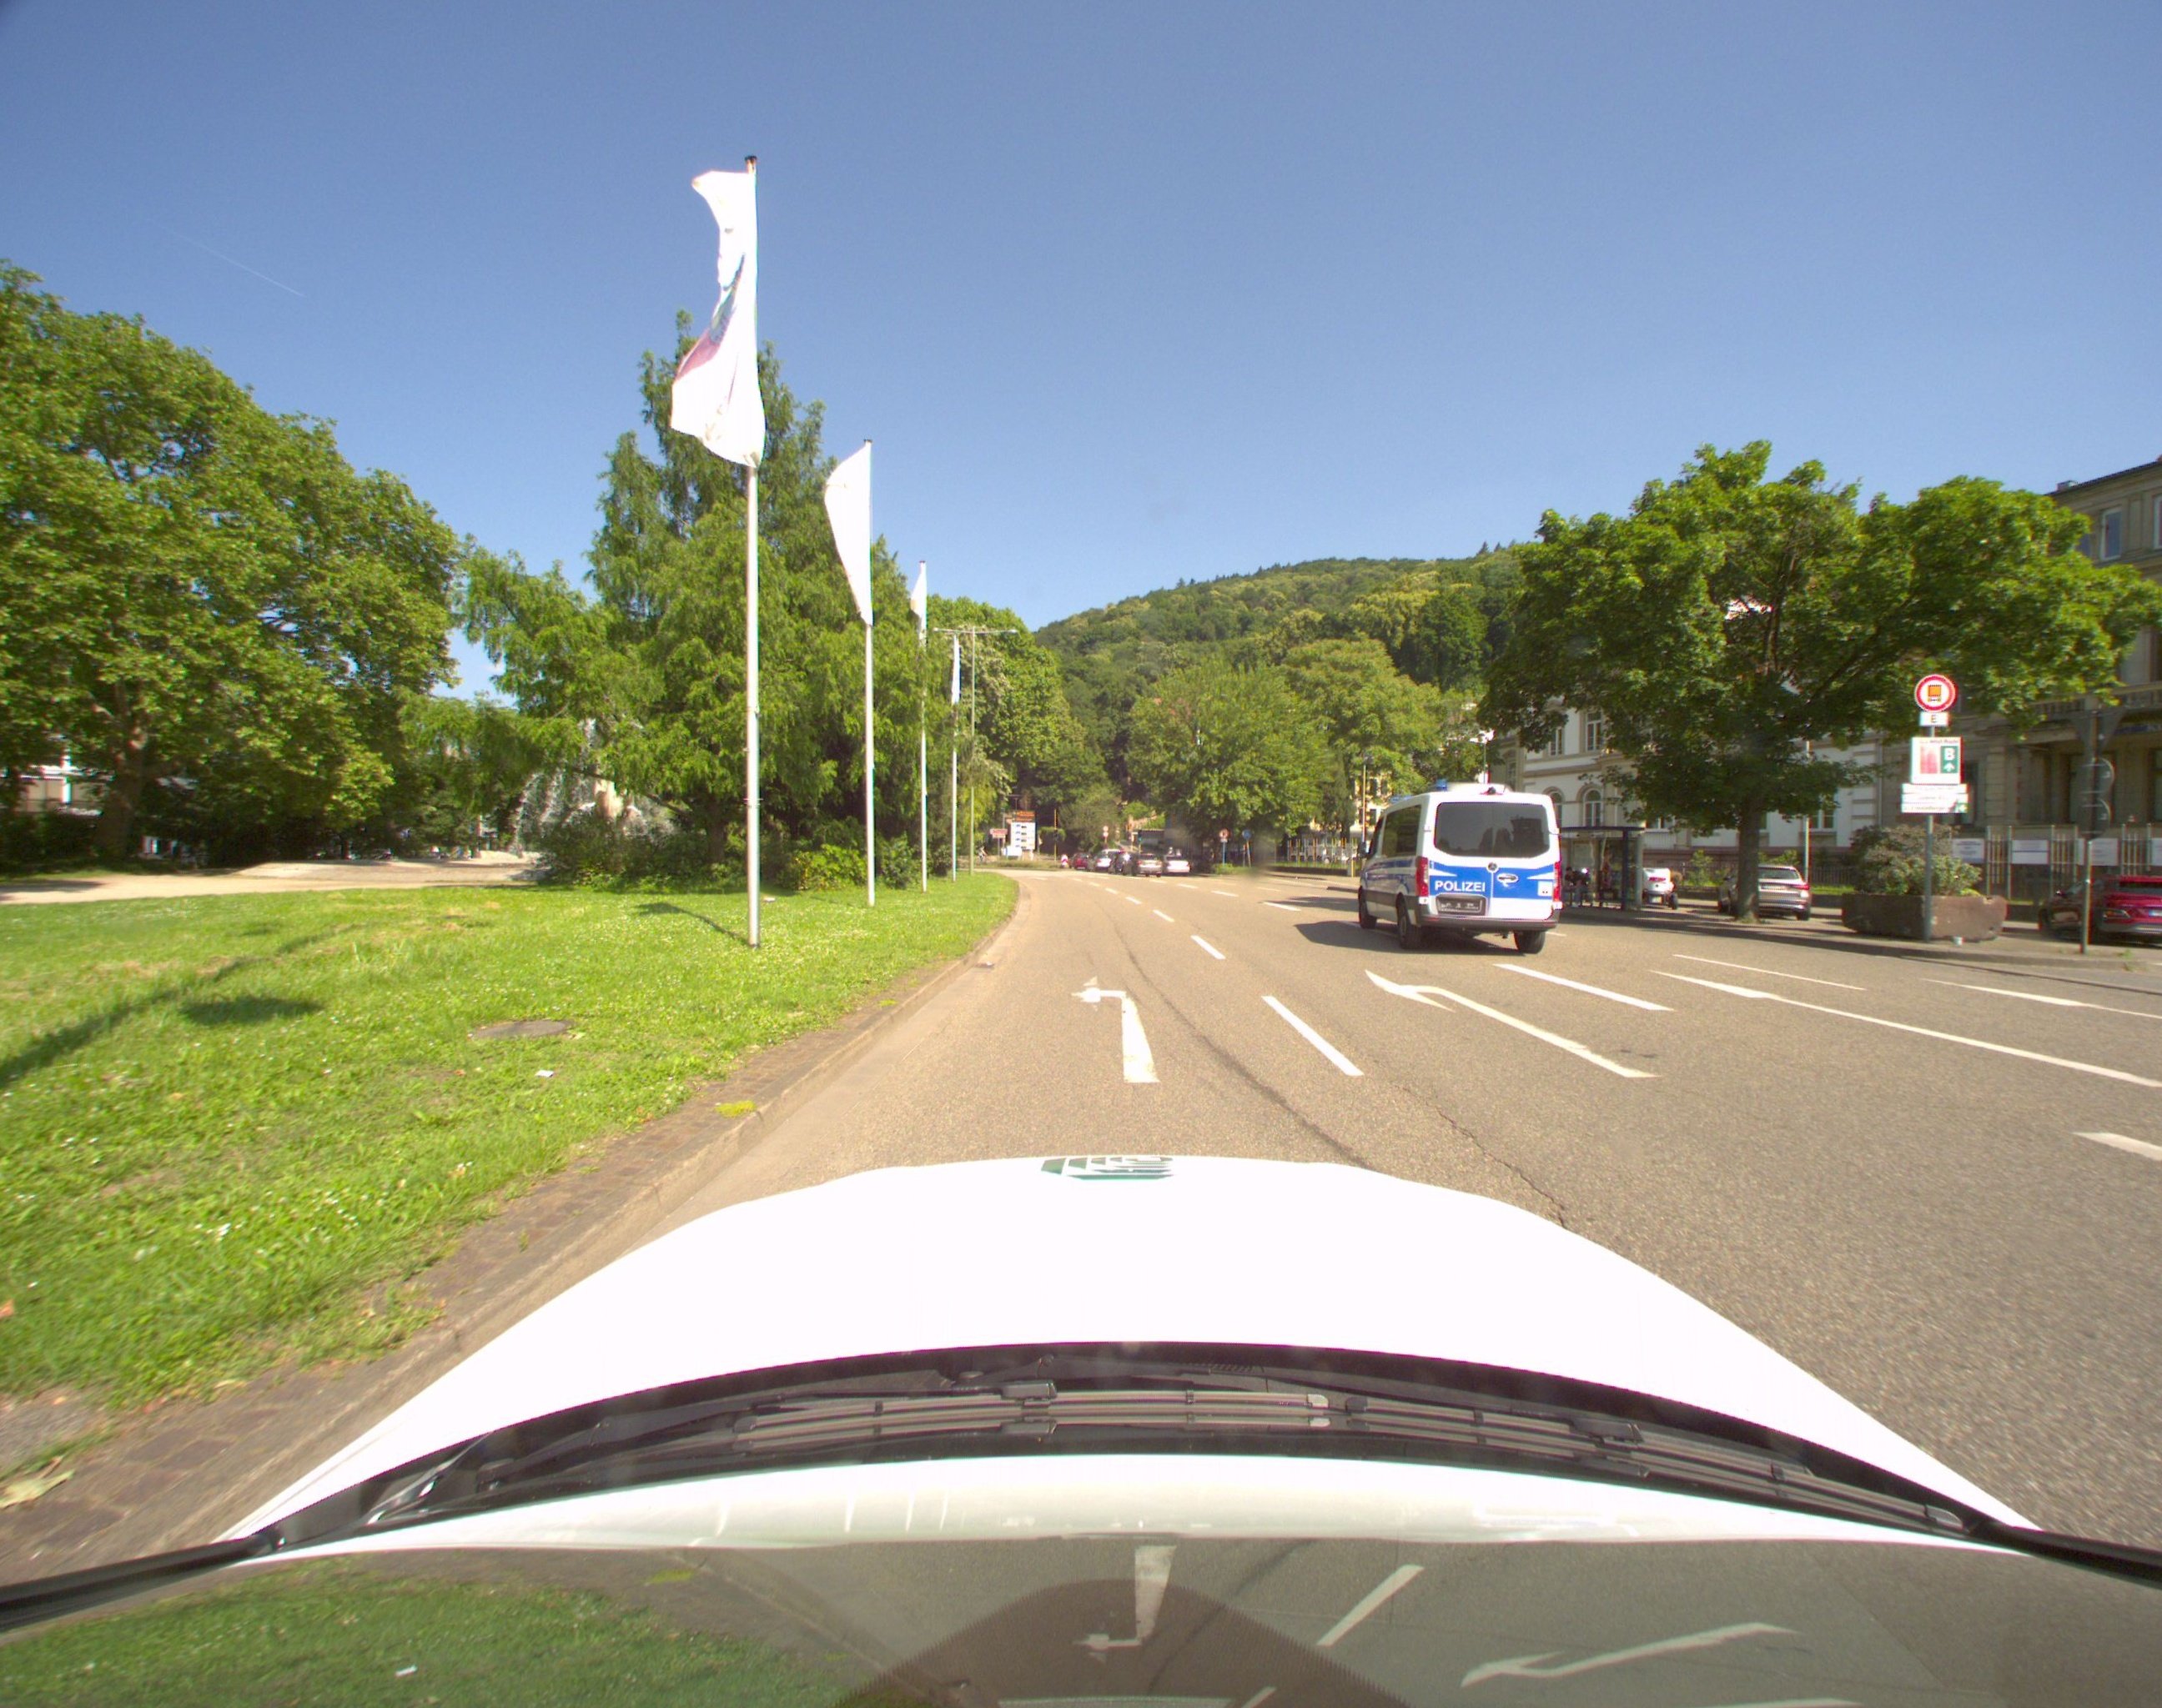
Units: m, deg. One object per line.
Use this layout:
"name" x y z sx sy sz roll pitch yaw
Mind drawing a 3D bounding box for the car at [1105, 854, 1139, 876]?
"car" 2.801 0.745 56.316 1.755 1.461 3.485 1 0 -7

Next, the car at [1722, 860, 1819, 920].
"car" 21.282 1.038 25.300 1.692 1.629 4.343 1 0 32

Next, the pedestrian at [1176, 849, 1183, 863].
"pedestrian" 9.832 0.210 81.401 0.490 1.458 0.729 0 0 -19

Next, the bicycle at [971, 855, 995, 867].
"bicycle" -9.432 0.668 78.386 2.060 1.112 0.760 1 0 17

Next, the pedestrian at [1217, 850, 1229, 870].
"pedestrian" 12.462 0.529 71.431 0.770 1.663 0.828 1 0 -6

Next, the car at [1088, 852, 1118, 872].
"car" 1.675 0.604 62.161 1.755 1.461 3.637 1 0 -7

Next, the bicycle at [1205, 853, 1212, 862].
"bicycle" 13.786 0.351 87.871 0.404 0.941 1.338 0 1 -6

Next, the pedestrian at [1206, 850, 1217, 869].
"pedestrian" 11.539 0.525 72.205 0.770 1.663 0.828 1 0 -6

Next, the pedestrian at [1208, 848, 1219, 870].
"pedestrian" 11.549 0.438 71.024 0.769 1.854 0.828 1 0 -4

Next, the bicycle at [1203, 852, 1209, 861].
"bicycle" 13.804 0.307 89.892 0.404 1.012 1.338 0 1 -6

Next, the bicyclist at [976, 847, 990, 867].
"bicyclist" -9.460 0.264 78.399 1.117 1.932 0.752 1 0 18

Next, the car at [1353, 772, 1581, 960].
"car" 6.021 0.152 13.450 2.061 2.508 4.941 1 0 9

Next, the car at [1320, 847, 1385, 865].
"car" 21.008 0.143 62.970 4.466 1.336 1.816 0 0 -10

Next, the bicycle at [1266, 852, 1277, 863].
"bicycle" 19.893 0.333 85.124 0.536 1.085 1.832 0 0 -5

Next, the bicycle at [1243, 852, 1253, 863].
"bicycle" 17.410 0.335 84.938 0.536 1.085 1.832 0 0 -5

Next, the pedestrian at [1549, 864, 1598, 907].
"pedestrian" 14.261 0.893 23.585 1.024 1.197 0.785 1 0 -28

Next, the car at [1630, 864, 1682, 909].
"car" 20.335 1.116 28.862 1.186 1.482 2.302 1 0 27

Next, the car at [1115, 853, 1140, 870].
"car" 4.374 0.676 76.692 1.755 1.461 3.485 1 0 -7

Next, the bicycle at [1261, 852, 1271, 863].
"bicycle" 19.301 0.333 85.041 0.536 1.085 1.832 0 0 -5

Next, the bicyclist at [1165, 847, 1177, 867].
"bicyclist" 8.840 0.312 79.791 1.120 1.932 0.749 1 0 5

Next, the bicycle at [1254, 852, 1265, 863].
"bicycle" 18.627 0.334 84.961 0.536 1.085 1.832 0 0 -5

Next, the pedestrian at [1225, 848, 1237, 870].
"pedestrian" 13.111 0.420 71.032 0.770 1.854 0.827 1 0 -8

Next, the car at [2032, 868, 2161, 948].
"car" 23.342 1.148 18.292 1.727 1.575 3.902 1 0 37

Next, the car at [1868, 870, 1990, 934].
"car" 22.036 1.177 21.302 1.585 1.417 3.845 1 0 37

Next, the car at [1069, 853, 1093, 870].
"car" -0.026 0.623 71.422 1.755 1.461 3.485 1 0 -7

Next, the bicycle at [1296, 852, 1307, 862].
"bicycle" 23.032 0.329 85.151 0.536 1.085 1.832 0 0 -5

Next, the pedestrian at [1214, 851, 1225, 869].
"pedestrian" 12.359 0.532 72.559 0.770 1.663 0.828 1 0 -6

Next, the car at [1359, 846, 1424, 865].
"car" 22.240 0.132 58.406 4.040 1.336 1.855 0 0 -10

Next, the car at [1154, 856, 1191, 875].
"car" 6.120 0.759 54.854 1.755 1.213 3.485 1 0 -7

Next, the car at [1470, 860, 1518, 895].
"car" 18.591 1.014 36.579 1.692 1.442 3.835 1 0 30

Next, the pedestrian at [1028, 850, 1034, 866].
"pedestrian" -5.123 0.376 83.511 0.545 1.621 0.634 0 0 2

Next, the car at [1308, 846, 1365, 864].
"car" 21.248 0.078 67.818 4.146 1.476 1.870 0 0 -12

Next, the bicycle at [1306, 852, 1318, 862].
"bicycle" 24.211 0.328 85.388 0.536 1.085 1.832 0 0 -5

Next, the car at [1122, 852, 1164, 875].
"car" 3.769 0.560 50.122 1.755 1.334 3.790 1 0 -9

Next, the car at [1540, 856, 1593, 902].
"car" 19.456 0.939 32.690 1.692 1.696 4.301 1 0 30

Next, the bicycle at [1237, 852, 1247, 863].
"bicycle" 16.770 0.336 84.880 0.536 1.085 1.832 0 0 -5

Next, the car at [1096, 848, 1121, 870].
"car" 2.561 0.422 75.497 1.755 1.938 3.485 1 0 -7
